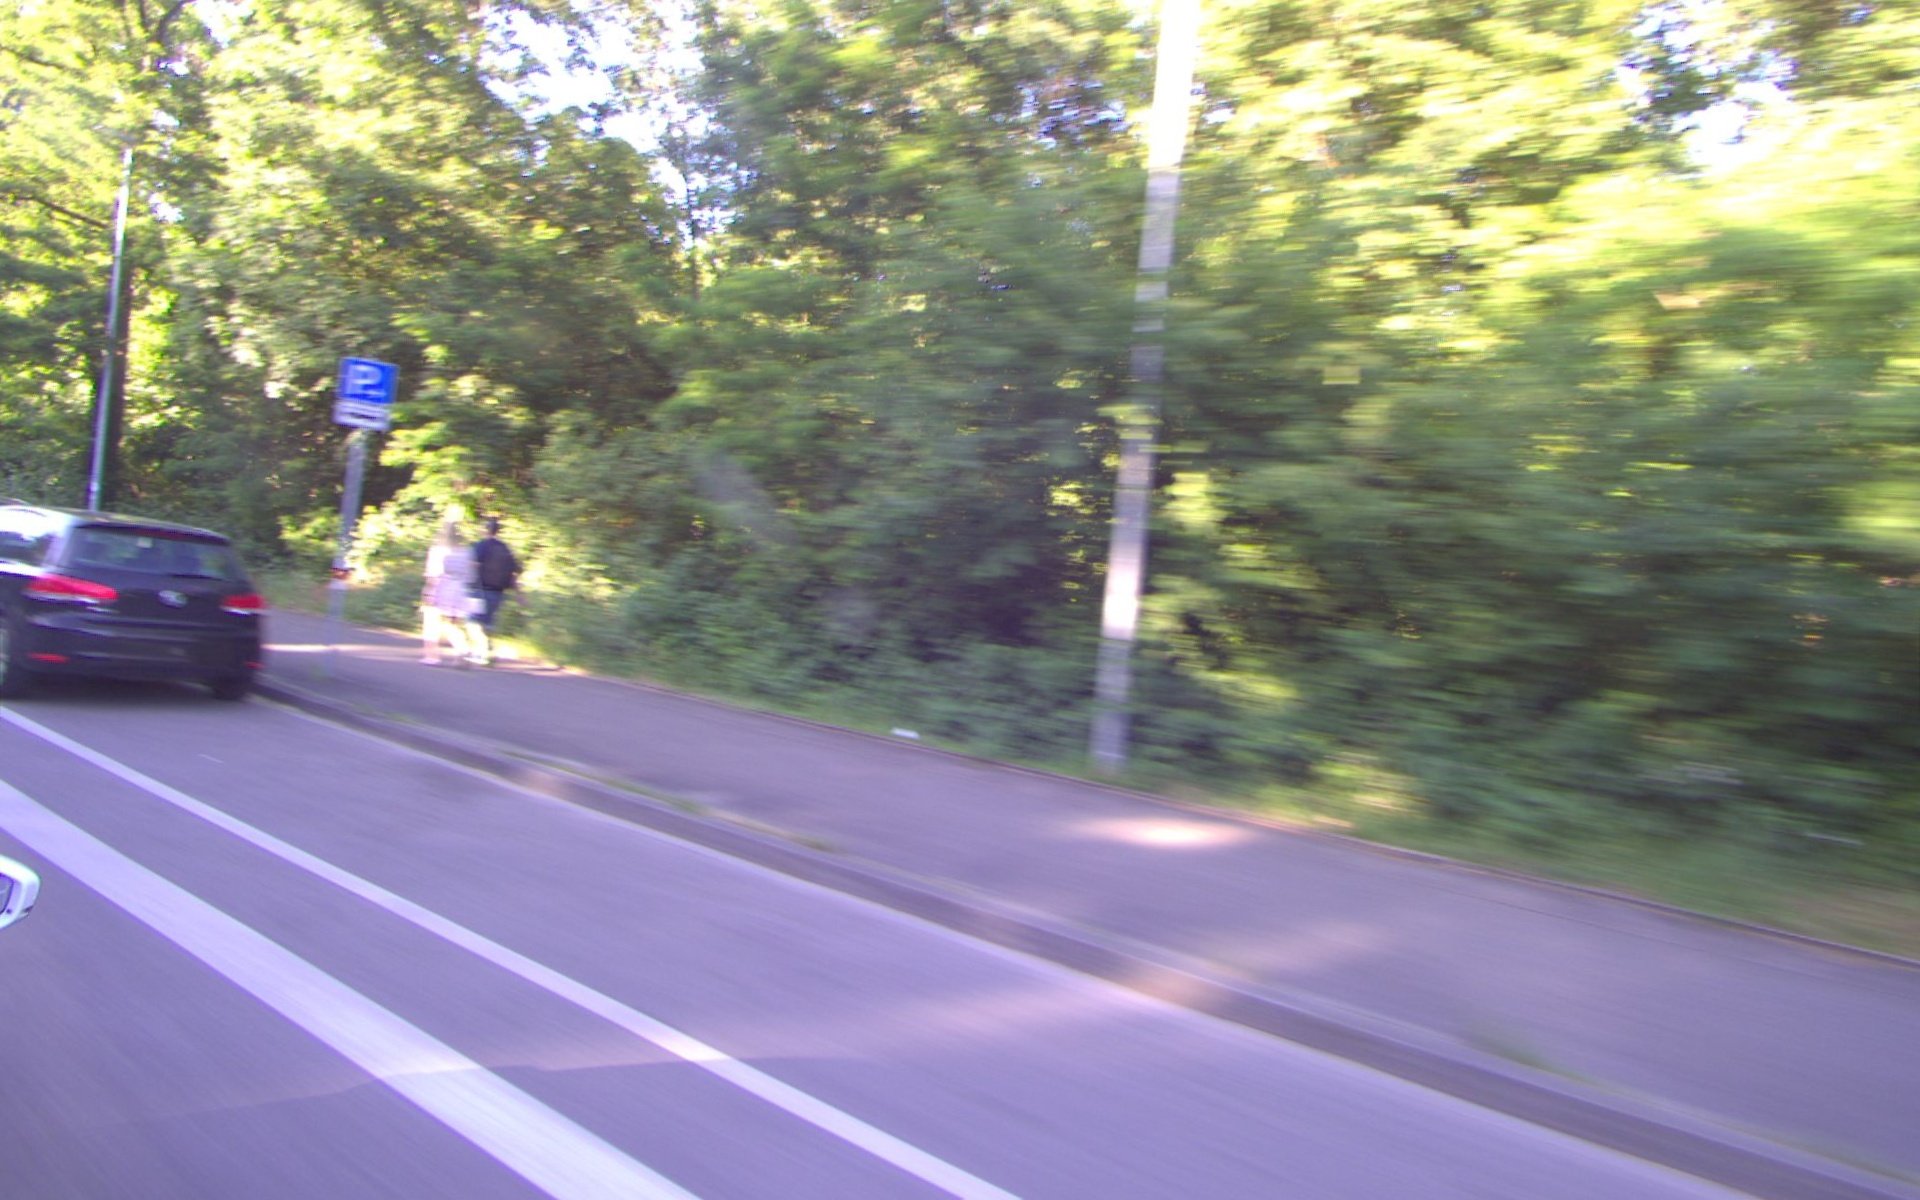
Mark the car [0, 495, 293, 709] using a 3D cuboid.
[{"bbox_3d":[-7.827,-0.105,8.841,3.953,1.470,1.658,7,0,31],"label":"car"}]

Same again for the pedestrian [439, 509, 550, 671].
[{"bbox_3d":[-5.599,-0.122,12.109,0.937,1.823,0.675,7,3,29],"label":"pedestrian"}]

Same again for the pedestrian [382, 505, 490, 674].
[{"bbox_3d":[-5.979,-0.120,11.491,0.776,1.823,0.675,7,3,29],"label":"pedestrian"}]

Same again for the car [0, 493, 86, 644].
[{"bbox_3d":[-11.853,-0.552,11.346,4.287,1.544,1.739,7,0,31],"label":"car"}]
